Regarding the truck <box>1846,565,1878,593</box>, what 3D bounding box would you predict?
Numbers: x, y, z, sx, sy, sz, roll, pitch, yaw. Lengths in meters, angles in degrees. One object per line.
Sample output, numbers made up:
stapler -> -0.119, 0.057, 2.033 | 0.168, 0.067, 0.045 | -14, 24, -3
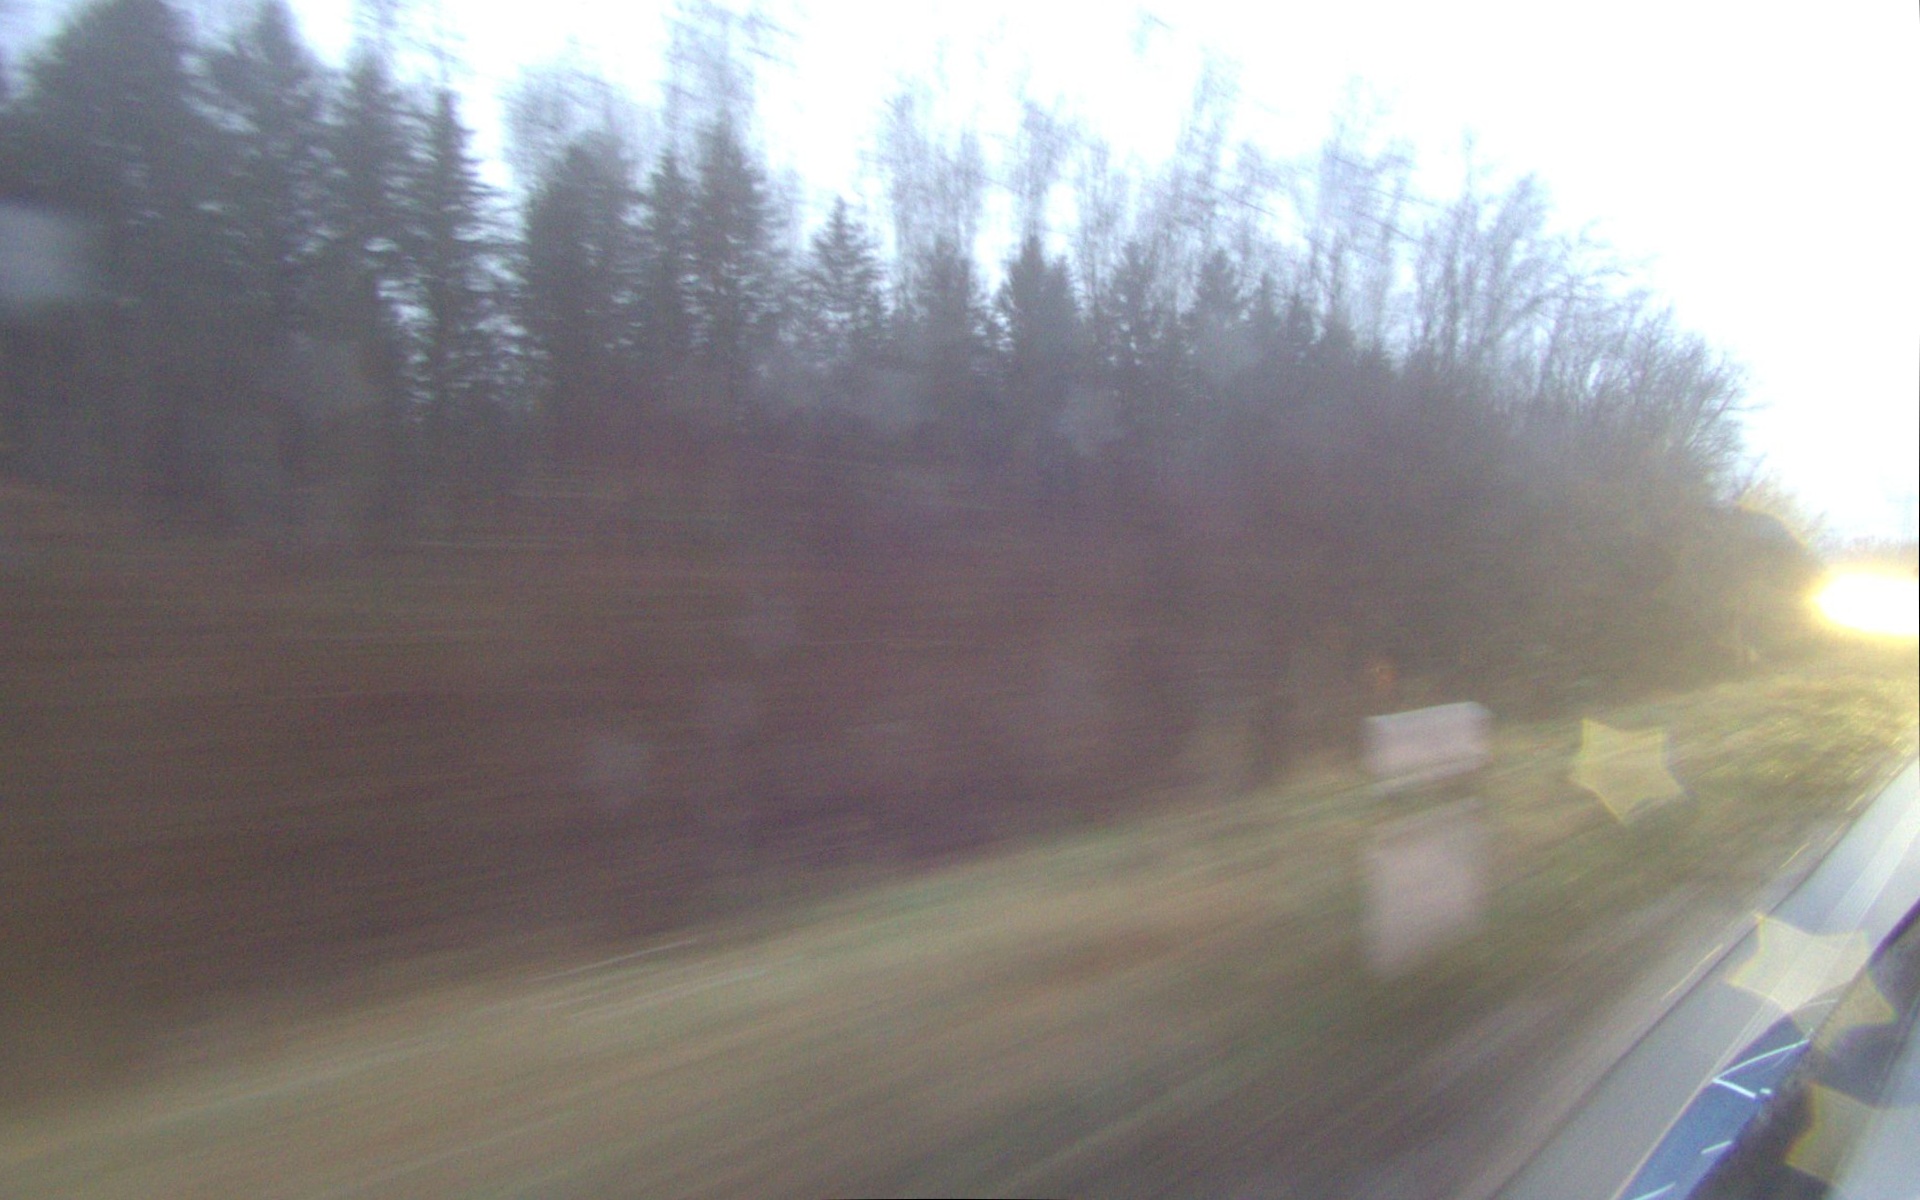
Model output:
truck -> 122.948, -2.890, 138.011 | 2.644, 3.640, 9.706 | 2, 3, 38

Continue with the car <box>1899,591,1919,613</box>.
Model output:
car -> 80.077, 0.173, 85.043 | 1.696, 1.753, 3.939 | 0, 1, 42
